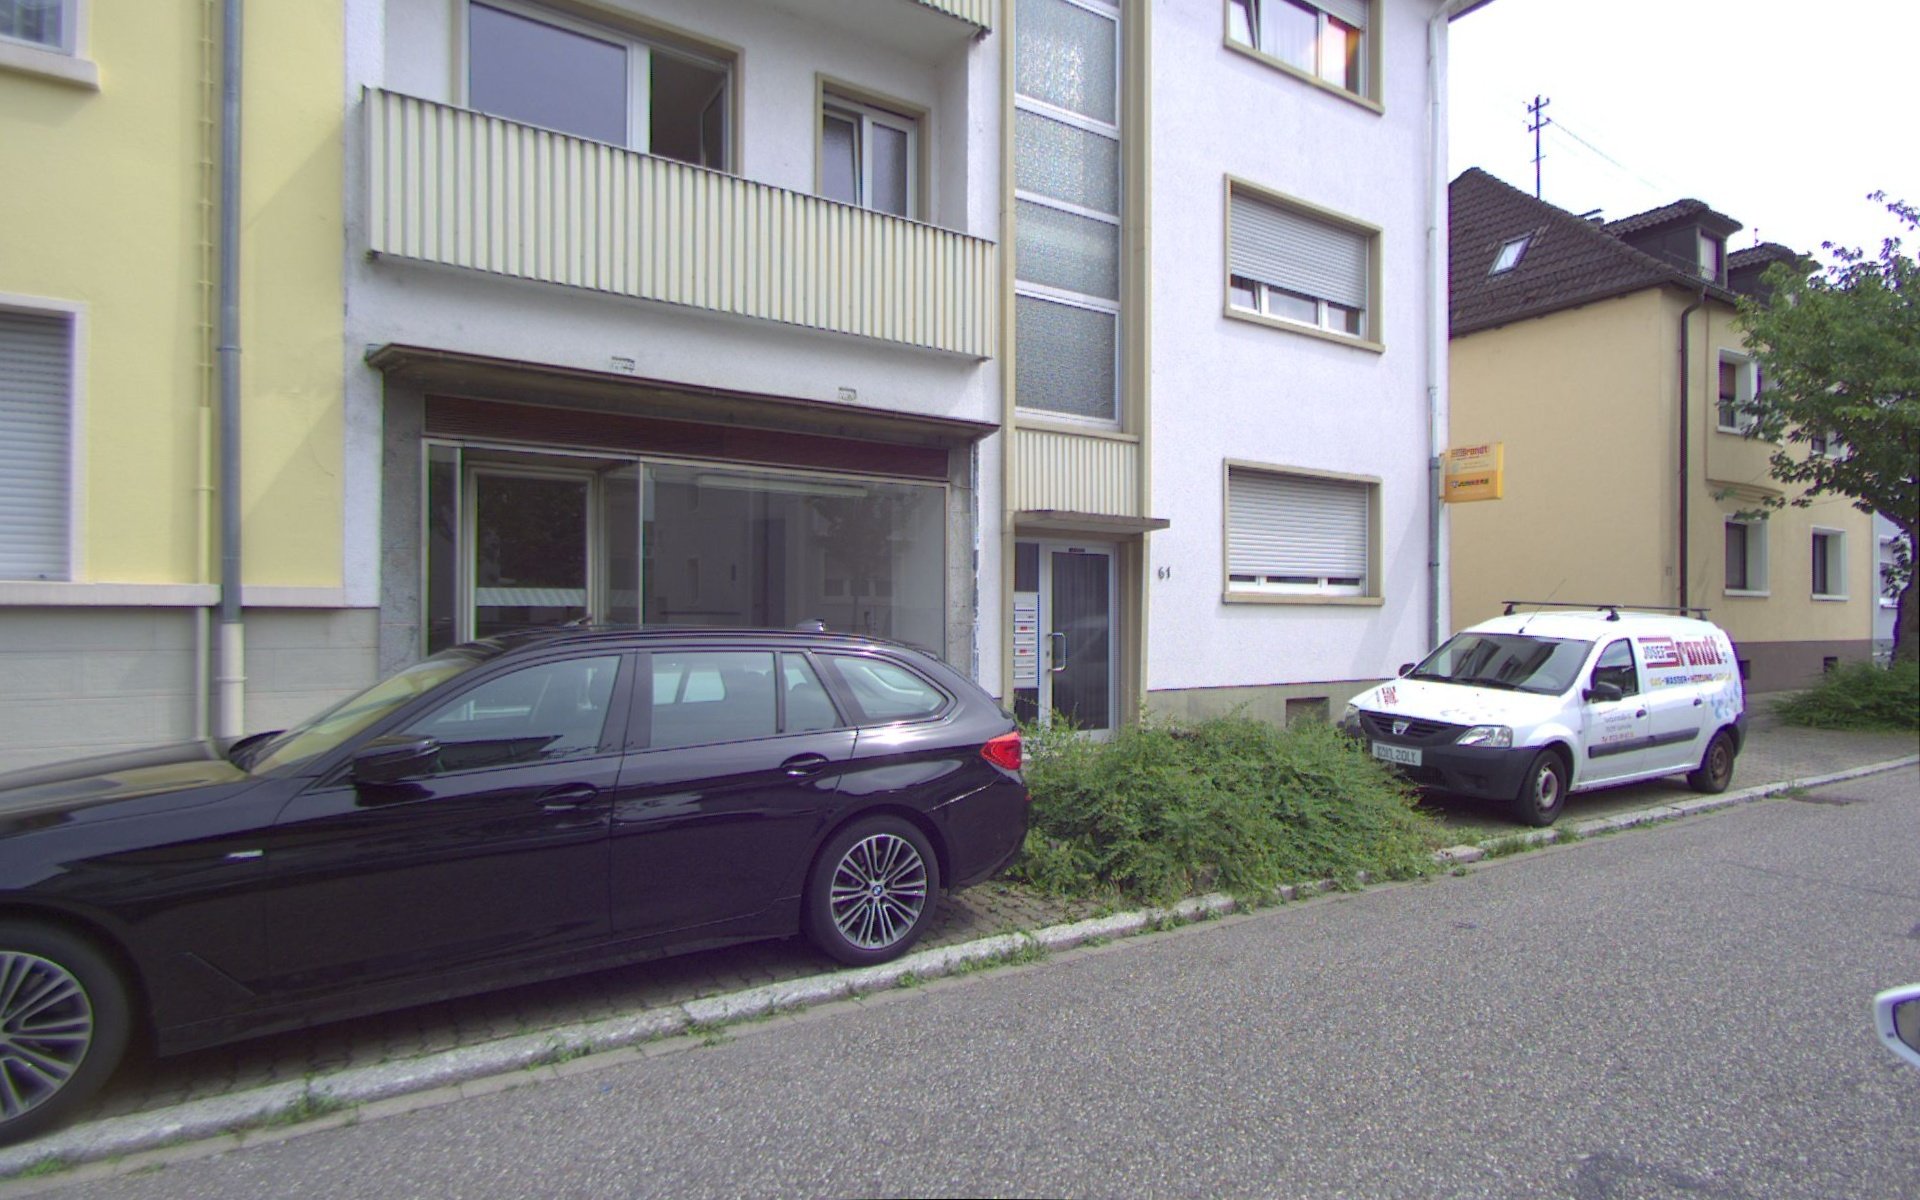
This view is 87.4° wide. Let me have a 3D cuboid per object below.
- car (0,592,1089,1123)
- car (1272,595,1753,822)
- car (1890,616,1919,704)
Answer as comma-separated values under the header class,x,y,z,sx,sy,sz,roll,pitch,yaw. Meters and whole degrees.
class,x,y,z,sx,sy,sz,roll,pitch,yaw
car,-1.843,0.775,4.465,4.758,1.512,1.781,2,-1,-32
car,5.074,0.851,9.096,4.333,1.602,1.909,1,-3,-32
car,17.773,1.069,17.040,4.226,1.411,1.762,1,4,-31
